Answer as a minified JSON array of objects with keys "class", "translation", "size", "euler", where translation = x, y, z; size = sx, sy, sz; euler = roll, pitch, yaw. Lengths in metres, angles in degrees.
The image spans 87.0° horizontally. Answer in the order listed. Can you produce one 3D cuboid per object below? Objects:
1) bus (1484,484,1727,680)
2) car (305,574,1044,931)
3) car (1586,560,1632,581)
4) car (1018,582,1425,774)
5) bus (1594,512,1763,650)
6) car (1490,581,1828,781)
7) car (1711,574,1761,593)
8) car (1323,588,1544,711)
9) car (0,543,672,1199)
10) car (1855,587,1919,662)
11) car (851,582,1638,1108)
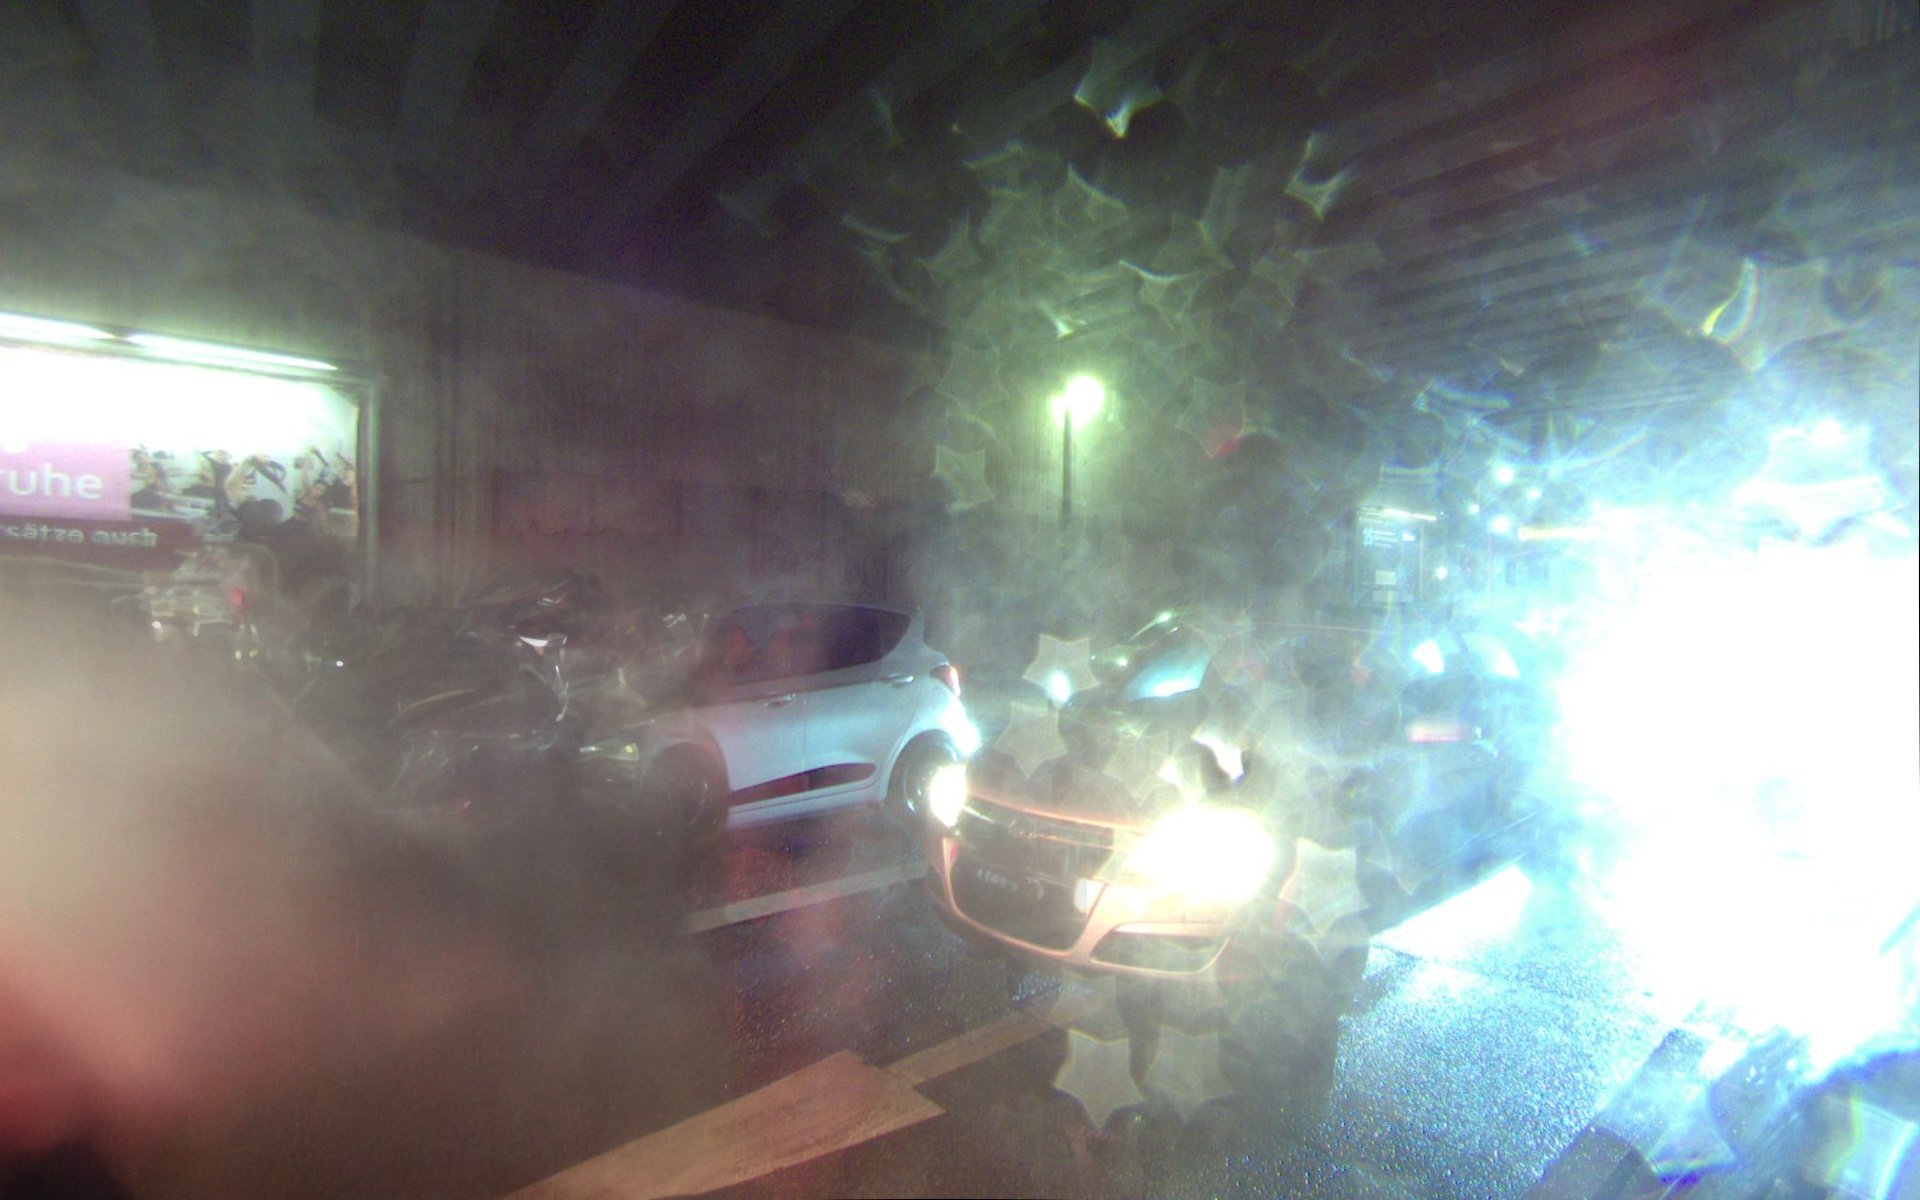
[{"class":"bus","translation":[14.044,-0.388,21.545],"size":[2.733,3.318,9.551],"euler":[0,1,43]},{"class":"car","translation":[-1.516,0.609,6.286],"size":[4.091,1.464,1.723],"euler":[-1,3,-42]},{"class":"car","translation":[46.351,-2.080,72.327],"size":[1.685,1.407,3.979],"euler":[0,1,17]},{"class":"car","translation":[2.853,0.588,10.326],"size":[4.705,1.505,1.723],"euler":[-1,2,-42]},{"class":"bus","translation":[20.501,-0.533,28.561],"size":[2.733,3.278,9.551],"euler":[0,1,43]},{"class":"car","translation":[6.801,0.621,9.677],"size":[4.091,1.506,1.722],"euler":[-1,-2,-42]},{"class":"car","translation":[66.120,-1.422,86.298],"size":[1.576,1.556,4.300],"euler":[0,1,9]},{"class":"car","translation":[7.165,0.613,15.128],"size":[1.721,1.505,4.096],"euler":[3,3,44]},{"class":"car","translation":[-2.677,0.645,0.978],"size":[4.308,1.464,1.723],"euler":[-1,3,-42]},{"class":"car","translation":[20.552,0.487,21.818],"size":[1.749,1.464,3.916],"euler":[3,3,40]},{"class":"car","translation":[1.642,0.652,4.846],"size":[4.091,1.464,1.722],"euler":[-1,1,-42]}]
